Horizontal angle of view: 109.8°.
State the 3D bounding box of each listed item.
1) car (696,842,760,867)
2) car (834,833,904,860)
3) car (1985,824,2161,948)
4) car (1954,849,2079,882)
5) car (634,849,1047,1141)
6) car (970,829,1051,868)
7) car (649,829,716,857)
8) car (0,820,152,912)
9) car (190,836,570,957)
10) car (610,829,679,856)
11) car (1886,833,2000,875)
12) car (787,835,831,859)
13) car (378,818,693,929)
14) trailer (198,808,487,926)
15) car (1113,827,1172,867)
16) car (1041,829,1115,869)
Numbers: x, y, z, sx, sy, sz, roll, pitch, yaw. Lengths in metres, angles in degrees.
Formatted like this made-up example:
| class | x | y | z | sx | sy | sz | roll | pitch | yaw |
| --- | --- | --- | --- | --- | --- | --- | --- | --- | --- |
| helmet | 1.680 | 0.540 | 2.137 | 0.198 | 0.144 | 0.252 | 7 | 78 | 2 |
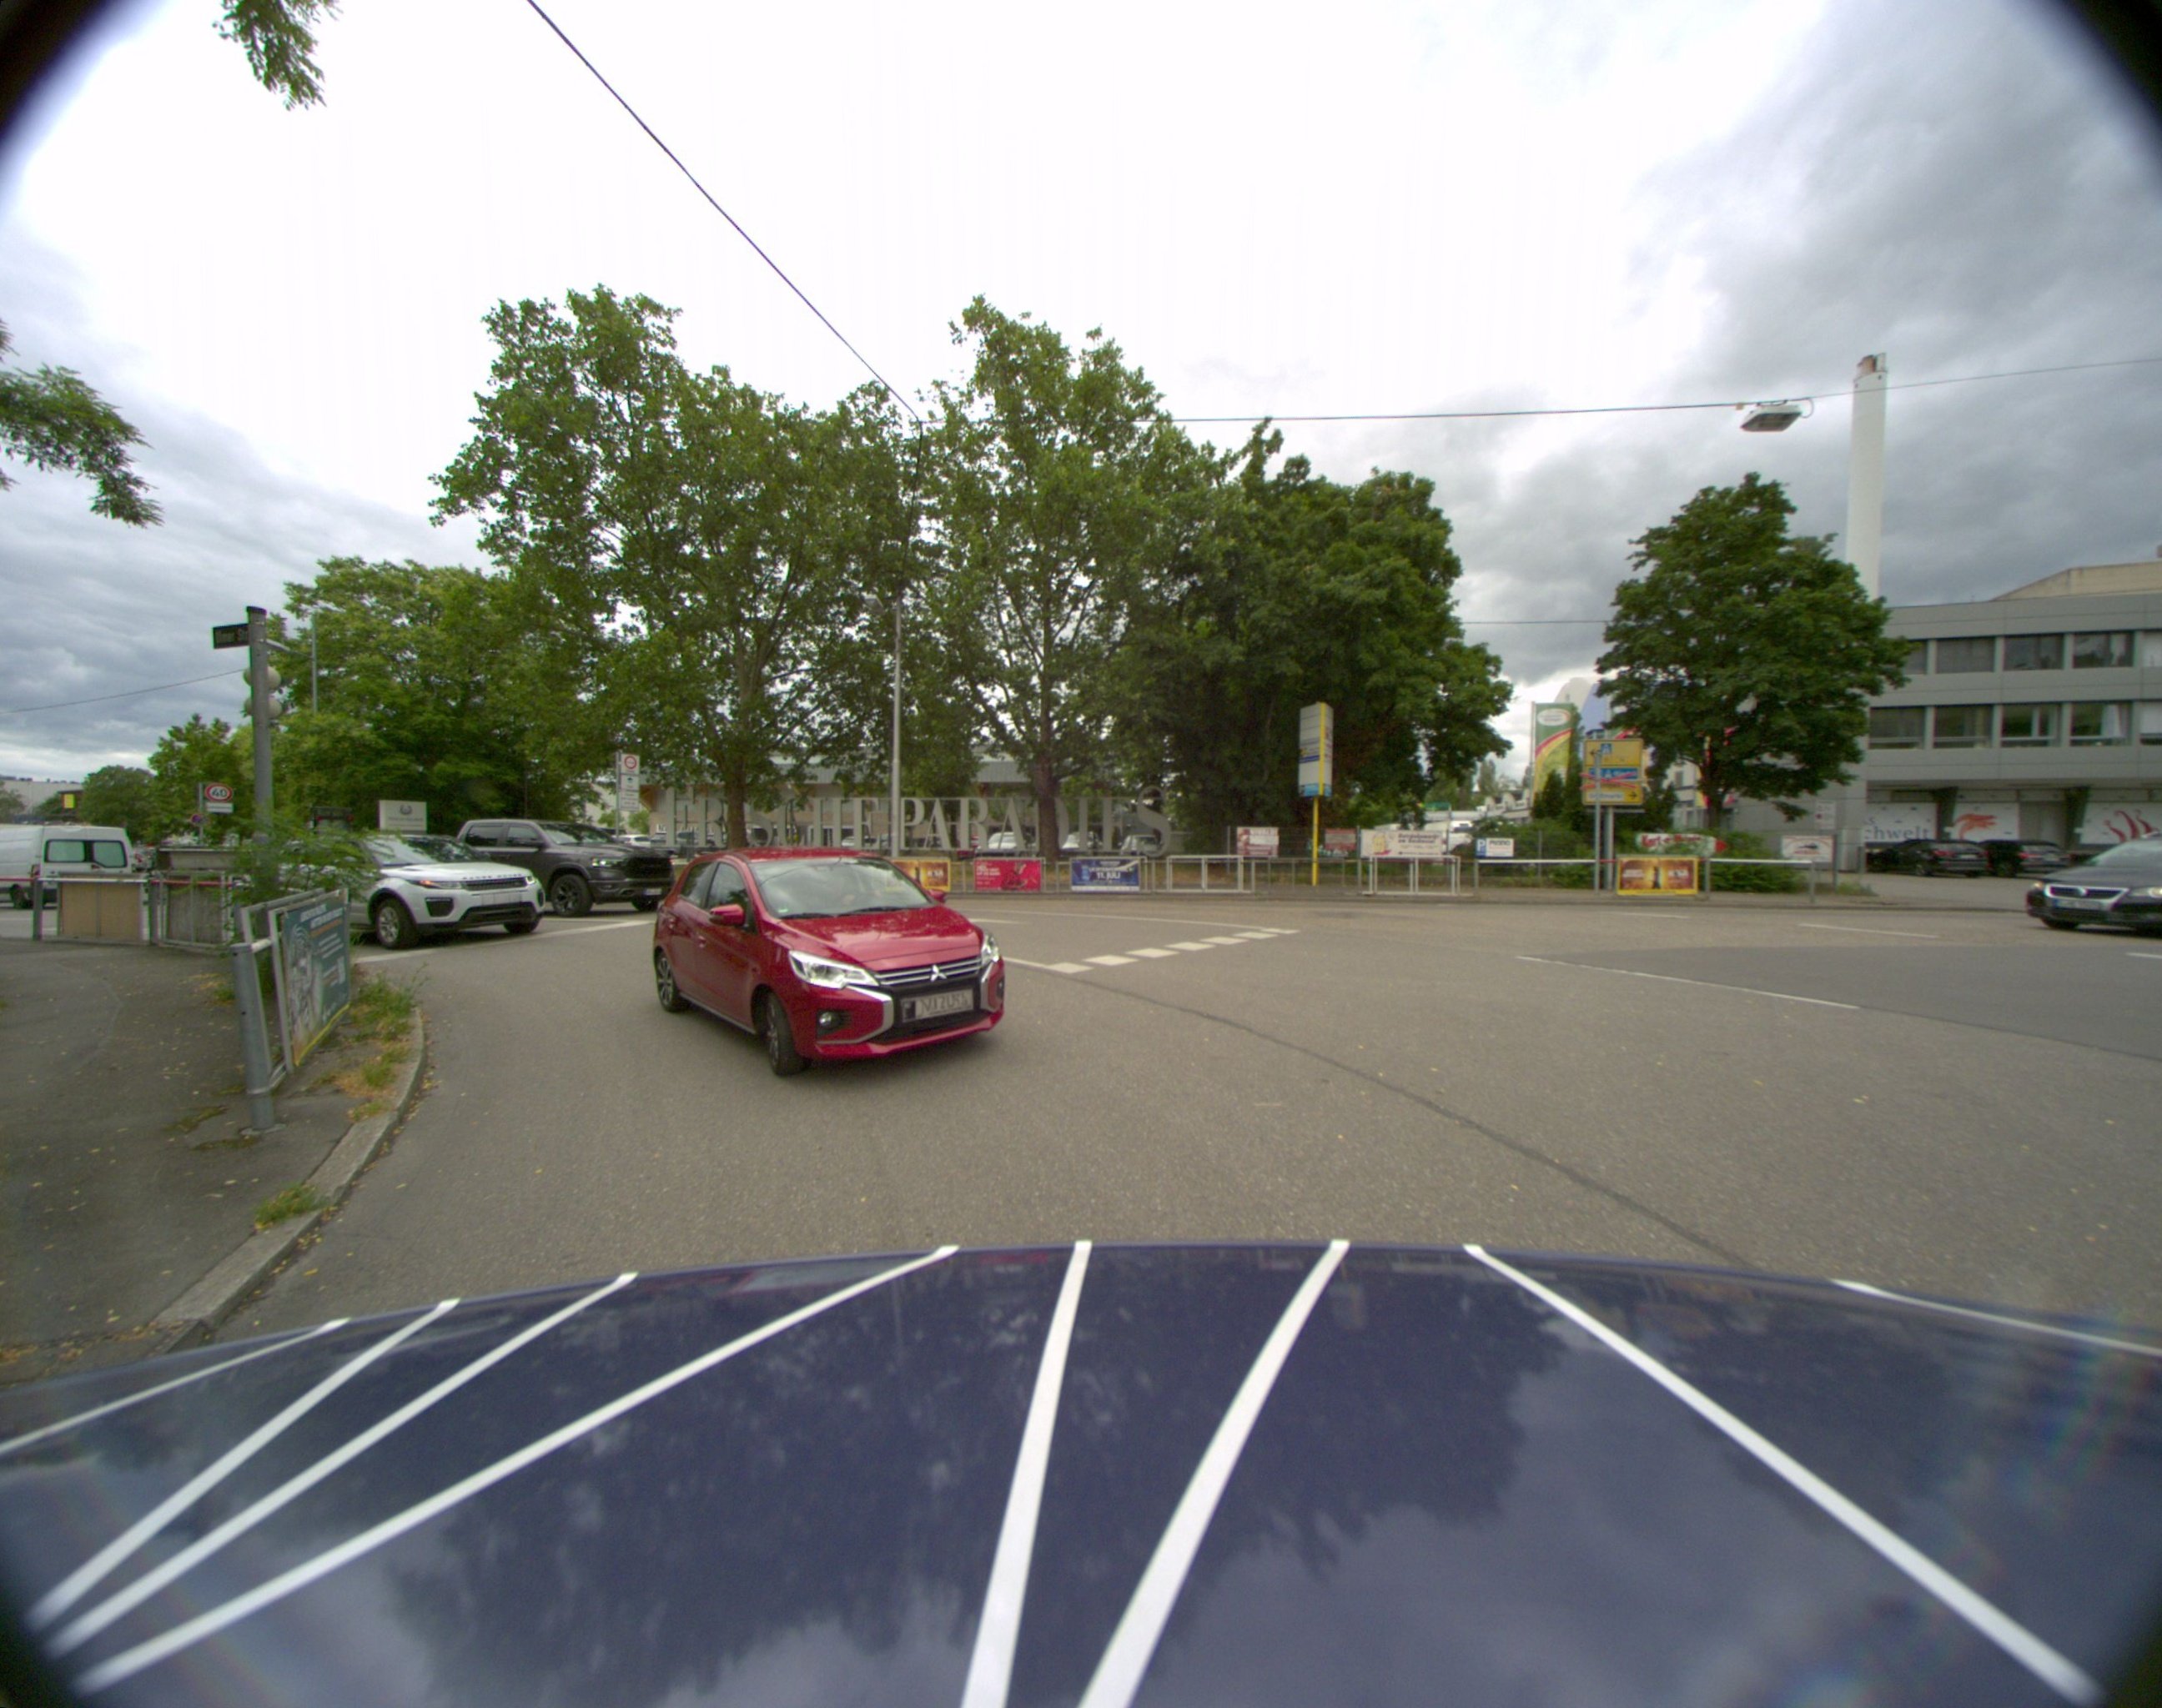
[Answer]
| class | x | y | z | sx | sy | sz | roll | pitch | yaw |
| --- | --- | --- | --- | --- | --- | --- | --- | --- | --- |
| car | -22.220 | -0.006 | 48.031 | 1.914 | 1.499 | 4.001 | 1 | 1 | 6 |
| car | -13.003 | -0.500 | 46.992 | 1.935 | 1.423 | 5.254 | -3 | 2 | 11 |
| car | 17.179 | 0.514 | 11.784 | 4.228 | 1.762 | 1.832 | 2 | 1 | -3 |
| car | 40.838 | 0.469 | 33.296 | 1.774 | 1.172 | 3.576 | -2 | 2 | 18 |
| car | -2.155 | 0.769 | 6.145 | 1.771 | 1.521 | 3.729 | -3 | 3 | -42 |
| car | -3.033 | -0.301 | 33.797 | 1.996 | 1.449 | 4.703 | -3 | 2 | 15 |
| car | -25.375 | -0.707 | 48.534 | 1.914 | 1.691 | 4.001 | 1 | 1 | 6 |
| car | -32.104 | 0.409 | 23.252 | 6.470 | 2.527 | 2.194 | -3 | 2 | 17 |
| car | -10.331 | 0.587 | 11.397 | 4.108 | 1.561 | 1.918 | -1 | 3 | 8 |
| car | -28.510 | -0.746 | 49.751 | 1.914 | 1.691 | 4.001 | 1 | 1 | 6 |
| car | 38.439 | -0.043 | 34.007 | 1.774 | 1.669 | 3.576 | -2 | 2 | 18 |
| car | -21.664 | -0.571 | 60.676 | 1.751 | 1.674 | 3.572 | -3 | 2 | 7 |
| car | -11.038 | 0.276 | 15.428 | 5.858 | 1.969 | 1.952 | 1 | 3 | 16 |
| trailer | -16.441 | 0.222 | 16.985 | 5.377 | 2.374 | 2.153 | 1 | 1 | 15 |
| car | 2.725 | -0.353 | 32.799 | 1.997 | 1.449 | 4.702 | -3 | 2 | 10 |
| car | -0.031 | -0.281 | 32.870 | 1.996 | 1.449 | 4.703 | -3 | 2 | 15 |
